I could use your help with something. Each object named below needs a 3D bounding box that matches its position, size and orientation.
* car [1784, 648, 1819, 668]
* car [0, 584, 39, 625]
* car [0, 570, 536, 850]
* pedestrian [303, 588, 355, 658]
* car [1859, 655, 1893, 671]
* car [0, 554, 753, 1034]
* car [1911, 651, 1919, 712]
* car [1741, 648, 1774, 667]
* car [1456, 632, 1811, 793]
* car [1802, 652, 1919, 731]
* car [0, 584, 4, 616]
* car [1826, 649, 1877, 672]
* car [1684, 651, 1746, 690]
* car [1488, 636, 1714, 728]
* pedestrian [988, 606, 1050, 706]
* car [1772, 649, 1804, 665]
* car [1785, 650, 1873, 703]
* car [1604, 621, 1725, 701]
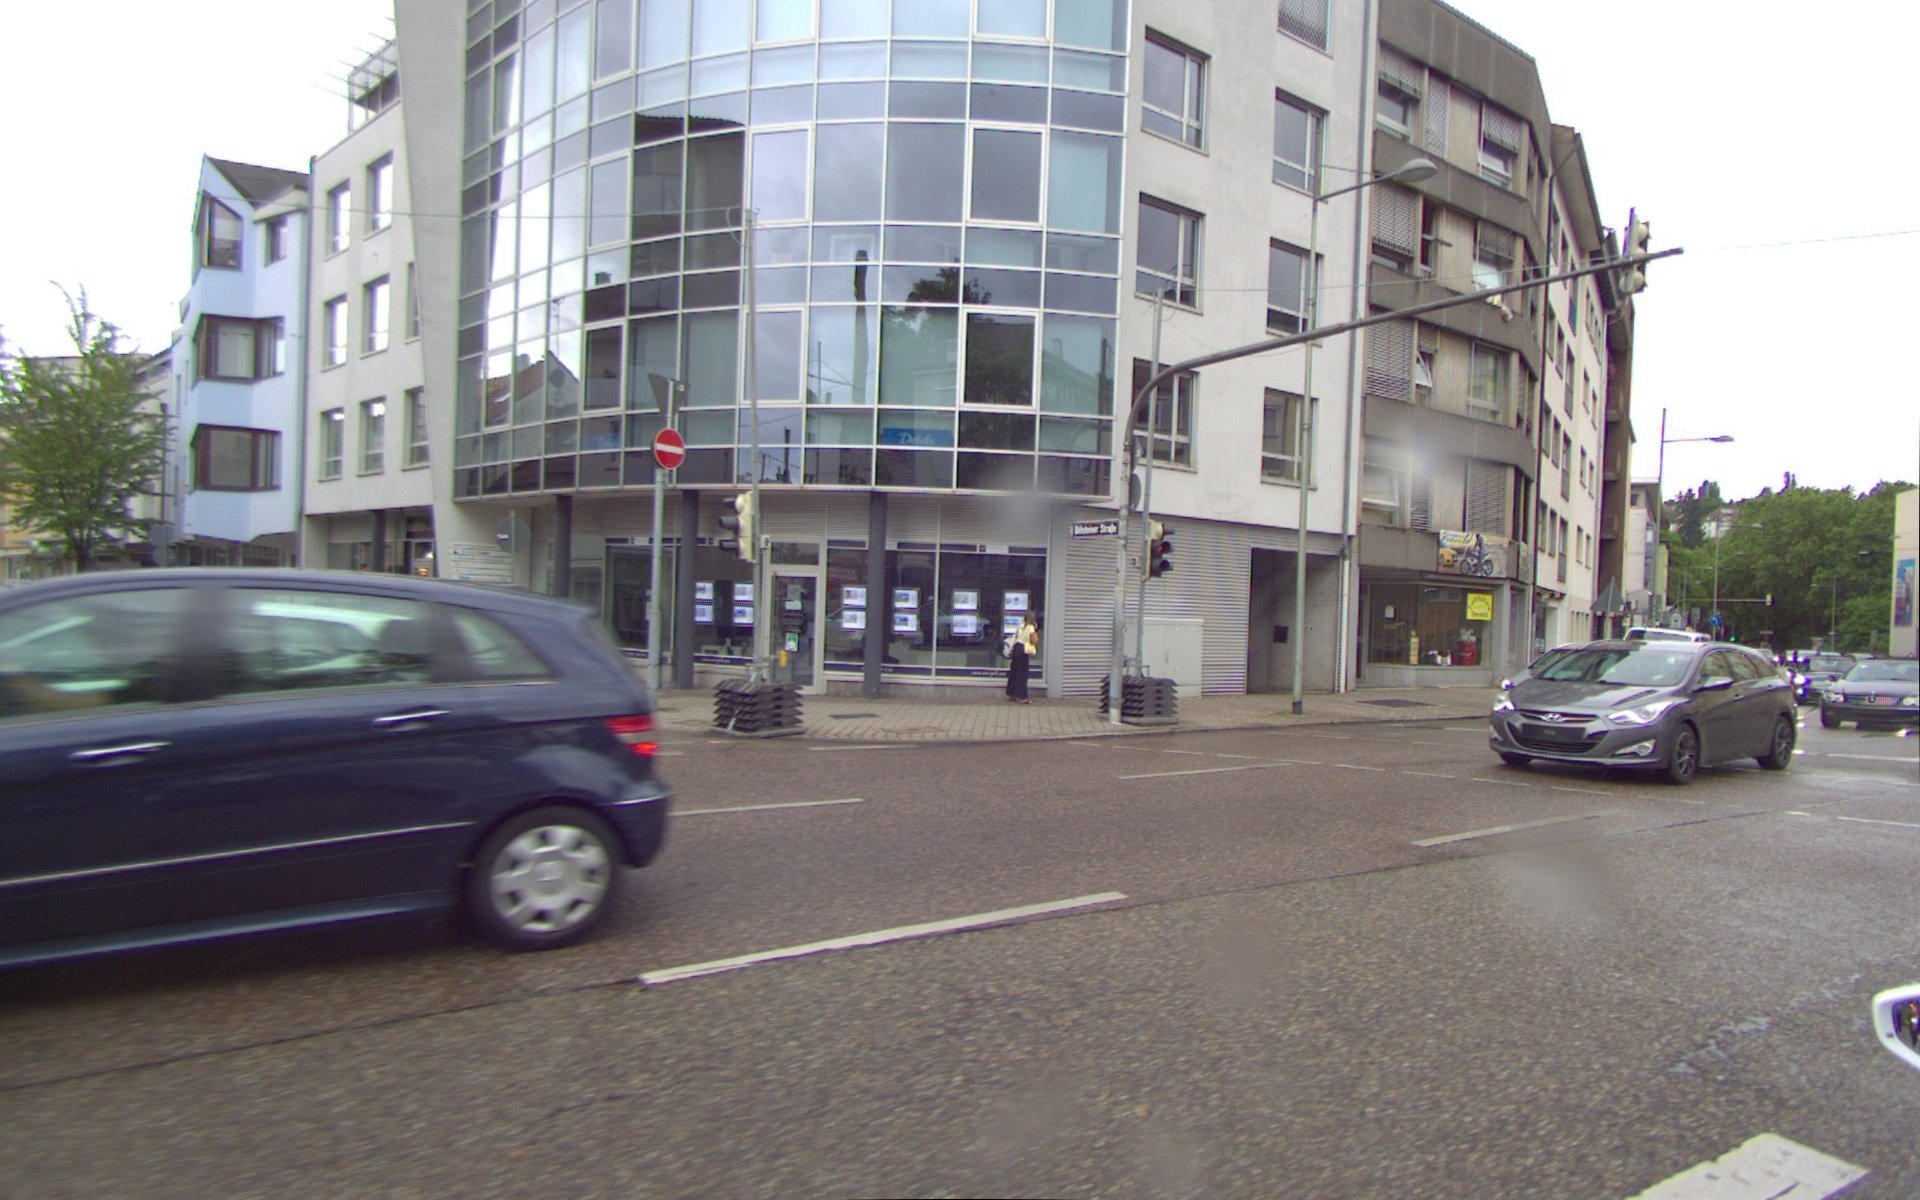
[{"bbox_3d":[73.740,5.103,88.075,1.796,1.629,4.419,1,-2,34],"label":"car"},{"bbox_3d":[-41.865,0.164,43.905,3.942,1.668,1.990,2,0,42],"label":"car"},{"bbox_3d":[-5.242,0.633,6.647,4.238,1.544,1.762,2,-1,-33],"label":"car"},{"bbox_3d":[-15.505,0.551,24.689,0.554,1.675,0.892,1,3,39],"label":"pedestrian"},{"bbox_3d":[92.388,6.340,101.390,1.689,1.461,4.074,0,-2,30],"label":"car"},{"bbox_3d":[-3.238,0.649,4.282,4.237,1.563,1.820,2,-1,-32],"label":"car"},{"bbox_3d":[25.383,2.043,25.161,4.453,1.478,1.965,3,-3,-43],"label":"car"},{"bbox_3d":[72.048,5.180,90.799,1.836,1.668,4.244,1,-2,33],"label":"car"},{"bbox_3d":[7.861,1.179,11.575,4.601,1.493,1.841,3,-2,-34],"label":"car"},{"bbox_3d":[18.553,1.788,20.050,4.564,1.384,1.810,4,-3,-38],"label":"car"},{"bbox_3d":[-50.701,-0.085,51.556,3.941,1.597,1.990,2,-1,41],"label":"car"},{"bbox_3d":[67.804,4.575,76.471,1.827,1.573,4.222,2,-1,26],"label":"car"},{"bbox_3d":[32.181,2.961,42.913,1.856,1.496,4.965,0,-2,34],"label":"car"},{"bbox_3d":[11.808,1.450,18.419,4.558,1.493,1.916,3,-3,-35],"label":"car"},{"bbox_3d":[0.998,0.934,17.058,0.821,1.629,0.622,1,-1,45],"label":"pedestrian"},{"bbox_3d":[78.449,5.412,95.214,1.795,1.452,4.389,1,-2,33],"label":"car"},{"bbox_3d":[25.466,2.197,29.398,1.704,1.418,3.572,-1,-3,45],"label":"car"},{"bbox_3d":[21.226,1.843,30.179,2.096,2.041,5.099,5,0,44],"label":"car"}]
